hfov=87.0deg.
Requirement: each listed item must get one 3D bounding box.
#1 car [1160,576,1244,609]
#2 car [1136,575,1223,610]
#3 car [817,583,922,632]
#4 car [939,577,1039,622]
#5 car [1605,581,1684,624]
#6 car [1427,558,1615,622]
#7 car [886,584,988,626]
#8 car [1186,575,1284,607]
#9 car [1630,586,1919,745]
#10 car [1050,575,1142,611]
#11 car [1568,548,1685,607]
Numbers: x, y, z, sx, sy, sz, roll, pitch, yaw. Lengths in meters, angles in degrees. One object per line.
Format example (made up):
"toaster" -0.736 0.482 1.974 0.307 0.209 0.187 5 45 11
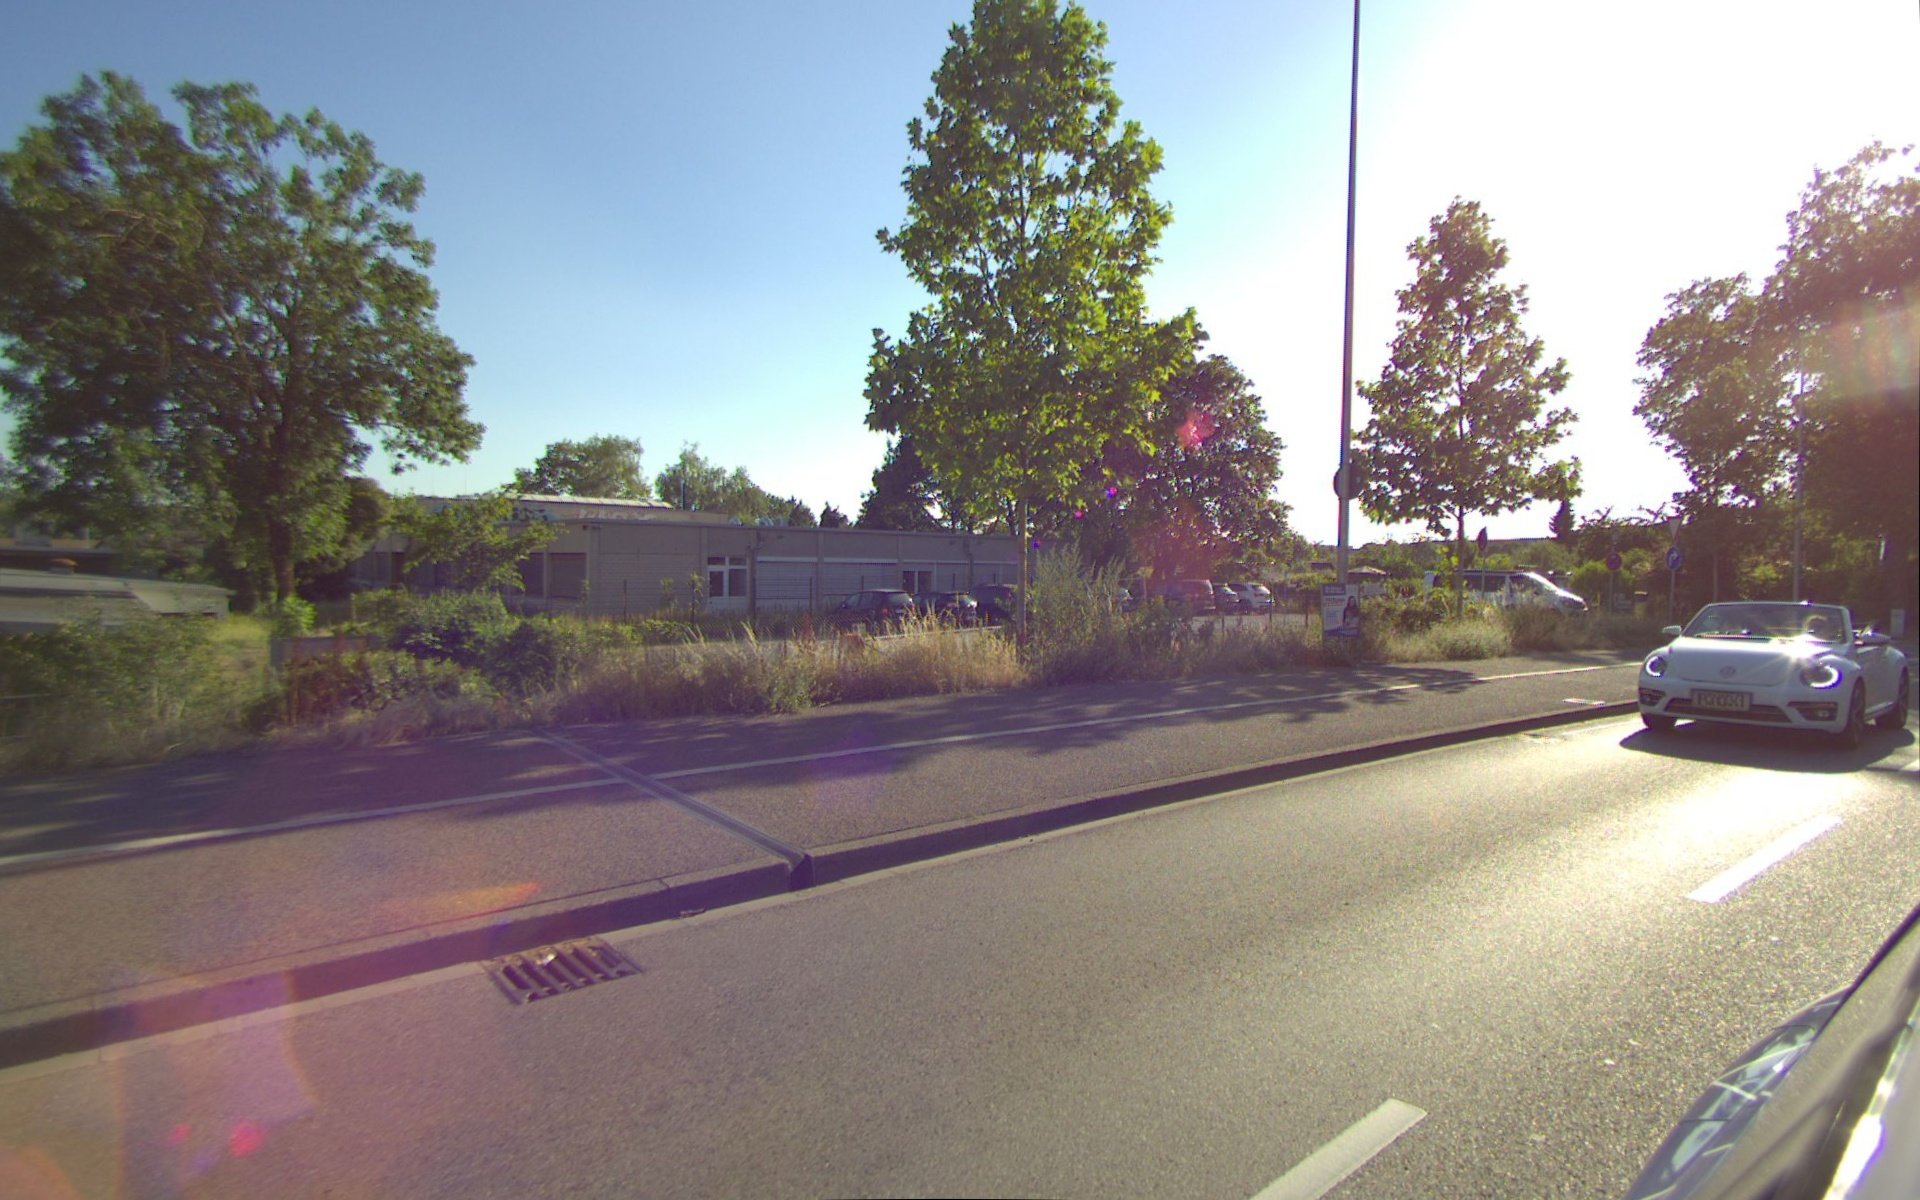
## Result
"car" 12.146 -0.353 50.863 1.694 1.606 3.832 0 0 -43
"car" 10.582 -0.348 48.958 1.636 1.661 3.868 0 0 -43
"car" -3.299 0.221 36.442 3.783 1.575 1.702 1 4 44
"car" 1.105 -0.016 40.355 1.679 1.687 3.911 -2 1 -44
"car" 28.902 0.065 42.685 1.995 1.667 4.089 2 2 45
"car" 19.316 -0.305 35.026 2.069 2.048 5.340 0 0 -43
"car" -0.923 0.141 38.515 3.783 1.413 1.713 1 4 44
"car" 14.266 -0.459 52.686 1.828 1.589 4.651 0 0 -44
"car" 9.218 0.587 11.256 3.908 1.441 1.856 0 1 -39
"car" 6.192 -0.304 46.241 1.658 1.606 4.021 0 0 -45
"car" 31.811 -1.077 48.230 5.815 2.654 2.941 0 2 -38
